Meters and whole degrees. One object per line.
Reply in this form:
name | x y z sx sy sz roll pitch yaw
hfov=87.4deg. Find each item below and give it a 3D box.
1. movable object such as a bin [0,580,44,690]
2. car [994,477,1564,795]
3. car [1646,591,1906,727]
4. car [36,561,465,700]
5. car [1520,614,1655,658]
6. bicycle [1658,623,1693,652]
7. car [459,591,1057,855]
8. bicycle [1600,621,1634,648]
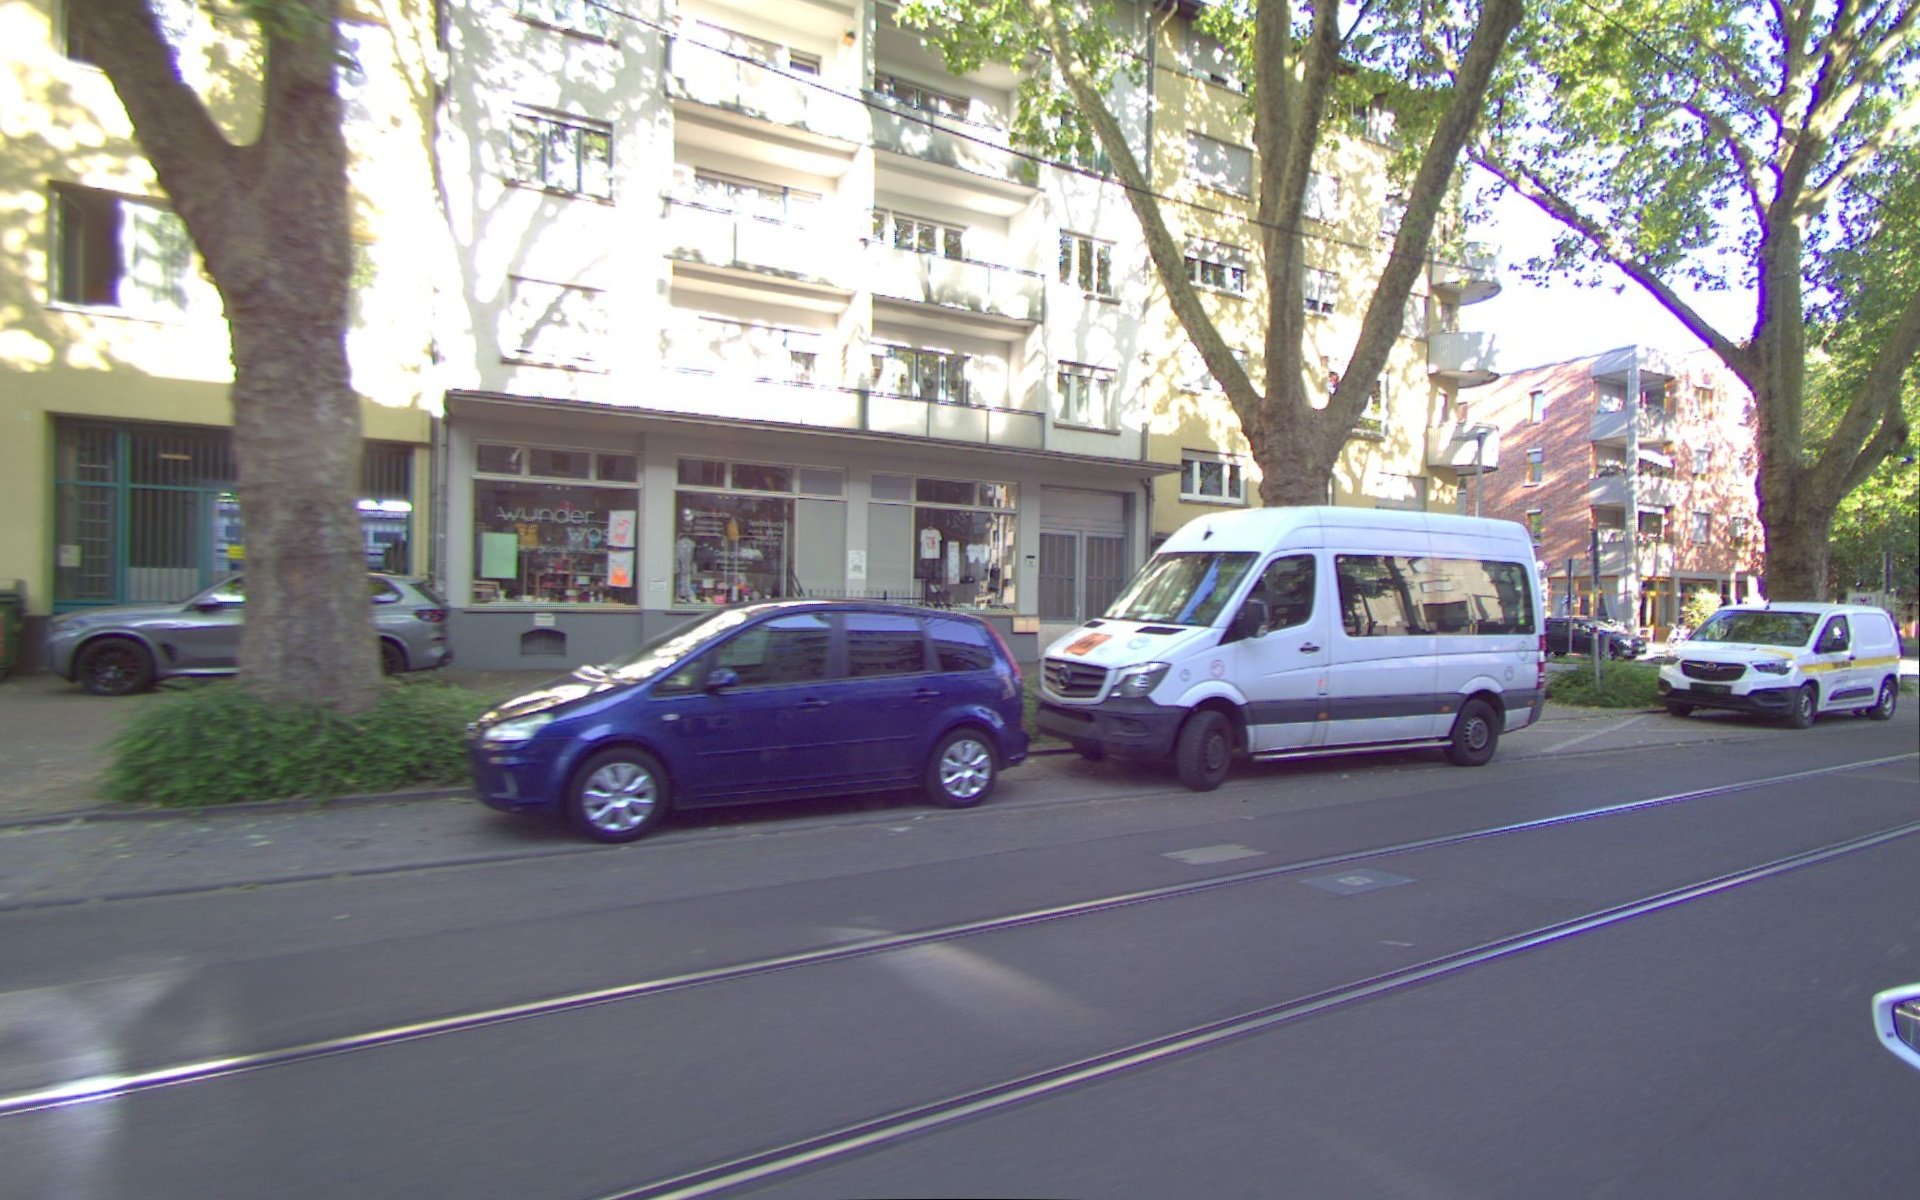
movable object such as a bin | -14.052 0.472 14.206 1.327 1.522 1.225 1 0 -29
car | 3.475 0.359 10.550 5.947 2.612 2.100 1 0 -27
car | 12.820 0.862 15.740 4.267 1.875 1.754 1 0 -30
car | -9.993 0.434 14.742 4.836 1.756 1.986 2 0 -28
car | 24.202 1.365 38.871 1.975 1.528 3.970 1 0 -28
bicycle | 29.214 1.528 40.996 1.619 1.099 0.539 -1 1 -30
car | -1.533 0.778 7.907 4.232 1.582 1.908 2 0 -29
bicycle | 28.145 1.466 43.047 1.619 1.099 0.539 0 0 -30
